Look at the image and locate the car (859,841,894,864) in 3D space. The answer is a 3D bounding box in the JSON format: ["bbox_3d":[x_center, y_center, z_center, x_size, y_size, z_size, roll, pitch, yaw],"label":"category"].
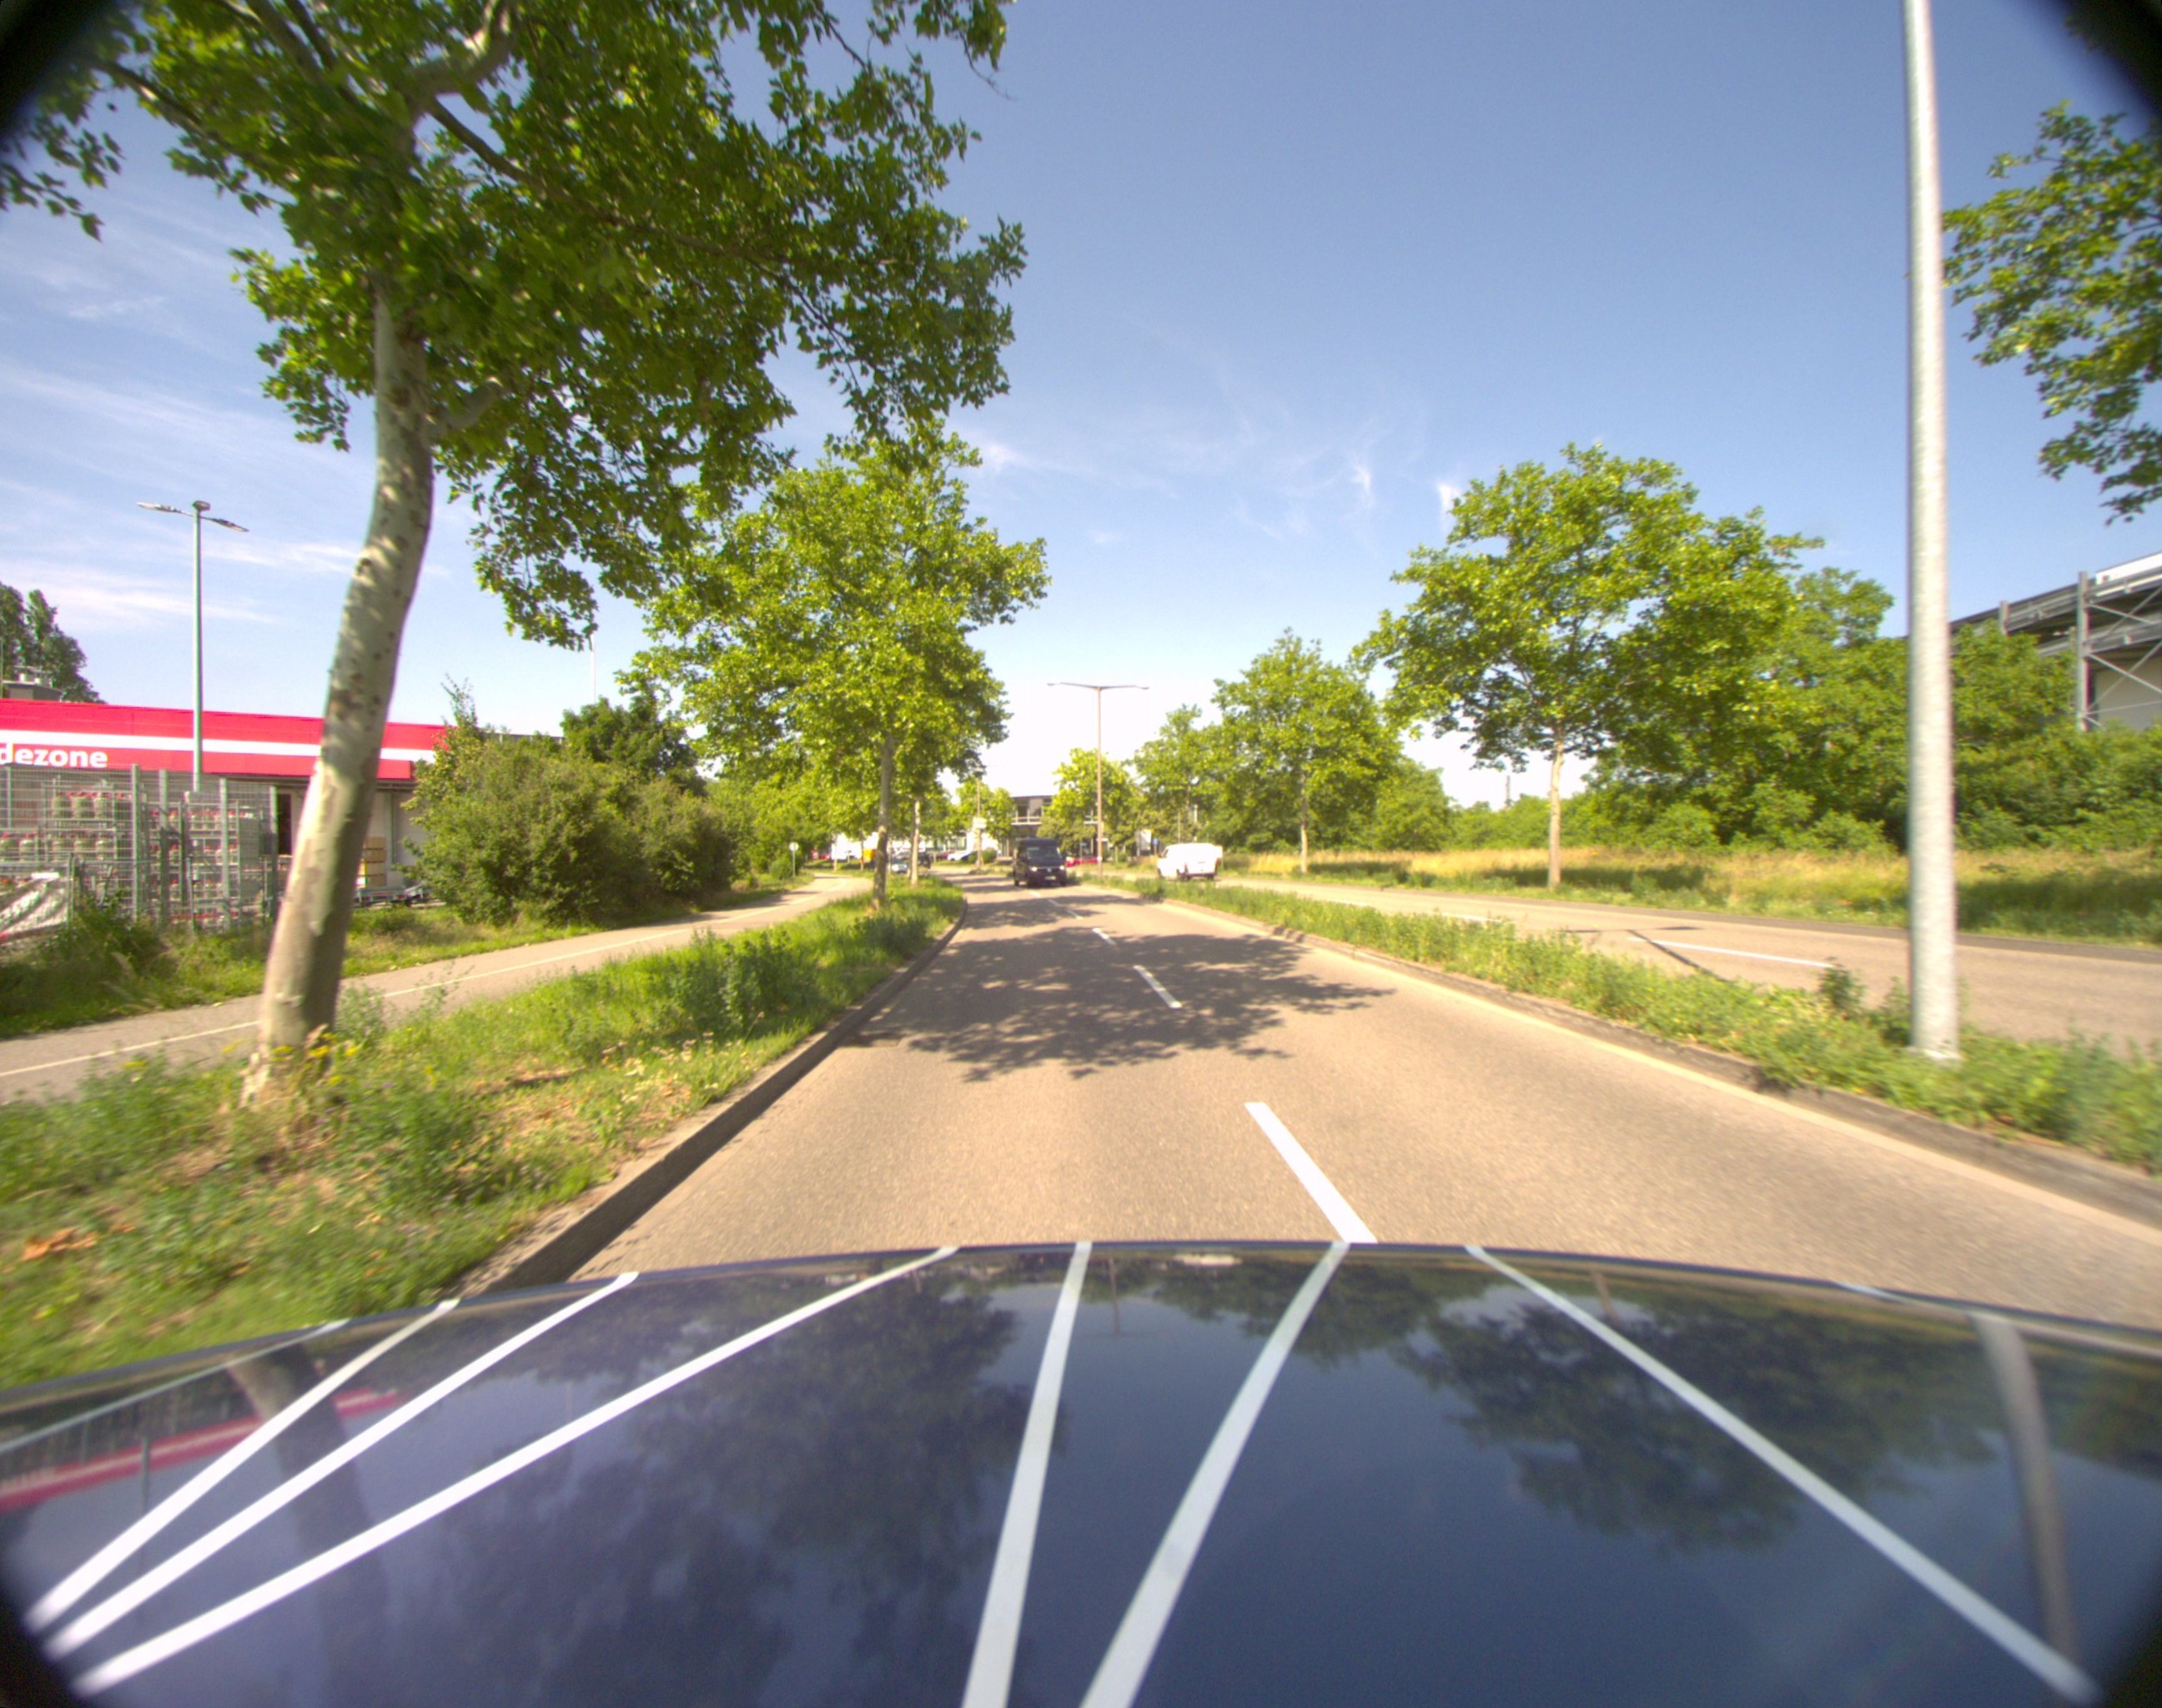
[{"bbox_3d":[-31.869,-0.221,118.333,2.791,3.412,5.994,-4,1,-39],"label":"car"}]

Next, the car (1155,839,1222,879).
[{"bbox_3d":[5.690,0.248,40.791,2.001,2.002,4.510,-2,1,-14],"label":"car"}]

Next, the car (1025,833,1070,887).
[{"bbox_3d":[-1.888,0.303,40.334,2.022,2.592,6.165,-2,0,-5],"label":"car"}]

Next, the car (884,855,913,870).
[{"bbox_3d":[-19.088,0.892,79.502,1.828,1.512,4.198,-2,1,-30],"label":"car"}]
